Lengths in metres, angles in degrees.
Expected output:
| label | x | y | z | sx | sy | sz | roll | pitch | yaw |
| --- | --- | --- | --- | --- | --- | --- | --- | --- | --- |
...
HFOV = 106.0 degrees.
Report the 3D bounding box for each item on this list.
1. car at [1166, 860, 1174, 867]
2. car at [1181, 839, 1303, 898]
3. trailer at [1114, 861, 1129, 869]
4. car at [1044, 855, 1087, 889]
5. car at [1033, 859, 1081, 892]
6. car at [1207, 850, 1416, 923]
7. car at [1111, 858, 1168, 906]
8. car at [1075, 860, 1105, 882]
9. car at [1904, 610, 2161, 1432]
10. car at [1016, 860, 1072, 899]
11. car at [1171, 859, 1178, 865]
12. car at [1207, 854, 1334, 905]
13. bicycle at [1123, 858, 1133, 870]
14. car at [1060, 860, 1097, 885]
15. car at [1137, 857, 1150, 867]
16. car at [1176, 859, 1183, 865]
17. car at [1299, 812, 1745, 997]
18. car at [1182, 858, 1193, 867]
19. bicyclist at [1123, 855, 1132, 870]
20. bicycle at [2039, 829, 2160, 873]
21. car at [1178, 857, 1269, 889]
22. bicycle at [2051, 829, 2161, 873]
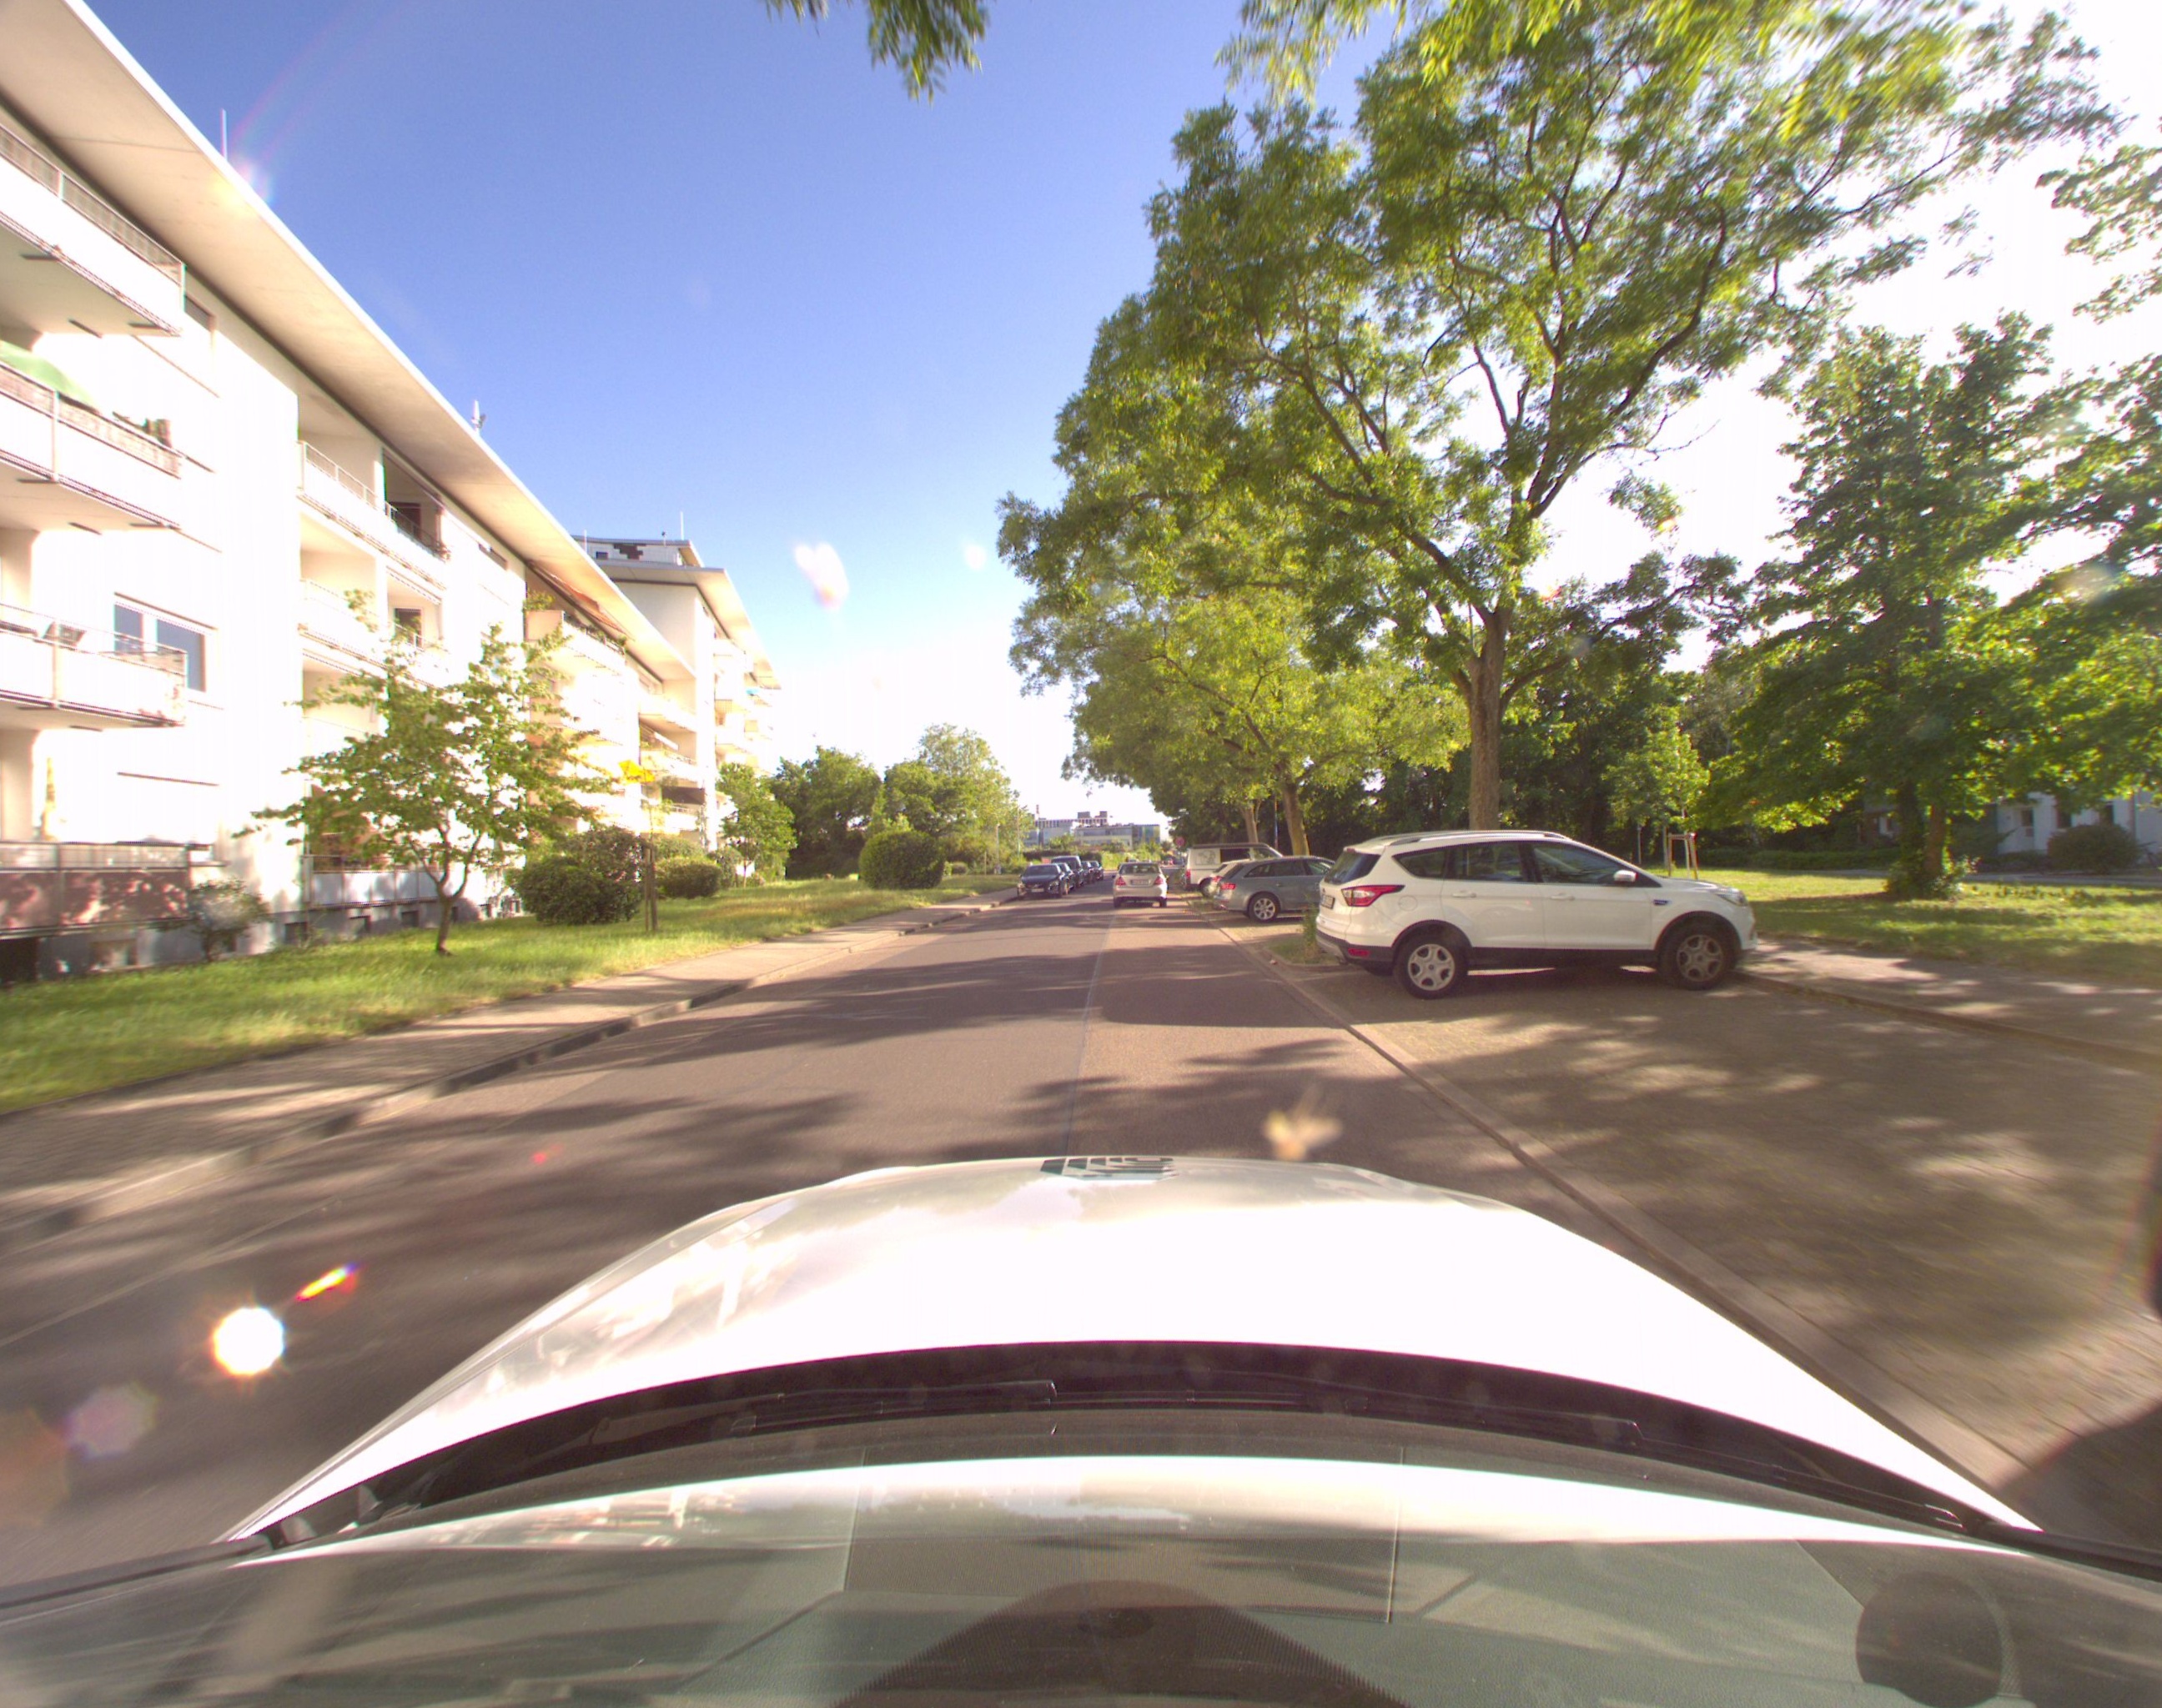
| label | x | y | z | sx | sy | sz | roll | pitch | yaw |
| --- | --- | --- | --- | --- | --- | --- | --- | --- | --- |
| car | 19.895 | 2.099 | 181.561 | 1.550 | 1.495 | 3.581 | -2 | -1 | 10 |
| car | 6.187 | 0.572 | 31.773 | 4.429 | 2.016 | 2.024 | -3 | -1 | 5 |
| trailer | 5.439 | 1.438 | 107.972 | 1.533 | 0.953 | 2.656 | 0 | -1 | 13 |
| car | -0.834 | 0.991 | 46.778 | 1.831 | 1.780 | 4.895 | -3 | -1 | 5 |
| car | -1.150 | 1.047 | 41.388 | 1.831 | 1.481 | 4.580 | -4 | -1 | 4 |
| car | 5.339 | 0.745 | 19.319 | 4.462 | 1.471 | 1.746 | -2 | -1 | 2 |
| car | 1.865 | 0.884 | 26.906 | 1.731 | 1.453 | 4.001 | 0 | -1 | 2 |
| car | 0.711 | 1.209 | 59.486 | 1.719 | 1.463 | 4.689 | -3 | 0 | 5 |
| car | 4.728 | 0.307 | 1.654 | 4.421 | 1.922 | 1.744 | -2 | -1 | -3 |
| car | -1.515 | 1.025 | 34.985 | 1.832 | 1.481 | 4.805 | -3 | -1 | 3 |
| car | 22.904 | 1.994 | 199.572 | 1.550 | 1.495 | 3.581 | 1 | 0 | 11 |
| car | 6.102 | 0.818 | 26.603 | 3.885 | 1.435 | 1.640 | -3 | 0 | 8 |
| bicycle | 5.273 | 1.123 | 91.753 | 0.846 | 1.370 | 3.226 | -2 | -1 | 7 |
| car | -0.138 | 1.185 | 53.179 | 1.830 | 1.454 | 4.027 | -3 | 0 | 7 |
| car | 10.441 | 1.376 | 135.468 | 1.633 | 1.556 | 4.430 | -2 | -1 | 11 |
| car | 26.173 | 2.051 | 216.354 | 1.550 | 1.495 | 3.769 | -2 | -1 | 10 |
| car | 4.686 | 0.527 | 9.146 | 4.025 | 1.764 | 1.746 | -2 | -1 | 2 |
| car | 17.562 | 1.409 | 134.331 | 1.546 | 1.538 | 3.566 | 0 | 0 | 11 |
| bicyclist | 5.235 | 0.925 | 91.512 | 0.840 | 1.658 | 1.066 | -2 | -1 | 6 |
| bicycle | 35.497 | -0.098 | 28.420 | 2.895 | 1.474 | 0.826 | 0 | -1 | 6 |
| car | 7.244 | 0.947 | 41.770 | 4.431 | 1.414 | 1.777 | -3 | 0 | 4 |
| bicycle | 34.874 | -0.086 | 27.532 | 2.895 | 1.443 | 0.826 | 0 | -1 | 6 |
